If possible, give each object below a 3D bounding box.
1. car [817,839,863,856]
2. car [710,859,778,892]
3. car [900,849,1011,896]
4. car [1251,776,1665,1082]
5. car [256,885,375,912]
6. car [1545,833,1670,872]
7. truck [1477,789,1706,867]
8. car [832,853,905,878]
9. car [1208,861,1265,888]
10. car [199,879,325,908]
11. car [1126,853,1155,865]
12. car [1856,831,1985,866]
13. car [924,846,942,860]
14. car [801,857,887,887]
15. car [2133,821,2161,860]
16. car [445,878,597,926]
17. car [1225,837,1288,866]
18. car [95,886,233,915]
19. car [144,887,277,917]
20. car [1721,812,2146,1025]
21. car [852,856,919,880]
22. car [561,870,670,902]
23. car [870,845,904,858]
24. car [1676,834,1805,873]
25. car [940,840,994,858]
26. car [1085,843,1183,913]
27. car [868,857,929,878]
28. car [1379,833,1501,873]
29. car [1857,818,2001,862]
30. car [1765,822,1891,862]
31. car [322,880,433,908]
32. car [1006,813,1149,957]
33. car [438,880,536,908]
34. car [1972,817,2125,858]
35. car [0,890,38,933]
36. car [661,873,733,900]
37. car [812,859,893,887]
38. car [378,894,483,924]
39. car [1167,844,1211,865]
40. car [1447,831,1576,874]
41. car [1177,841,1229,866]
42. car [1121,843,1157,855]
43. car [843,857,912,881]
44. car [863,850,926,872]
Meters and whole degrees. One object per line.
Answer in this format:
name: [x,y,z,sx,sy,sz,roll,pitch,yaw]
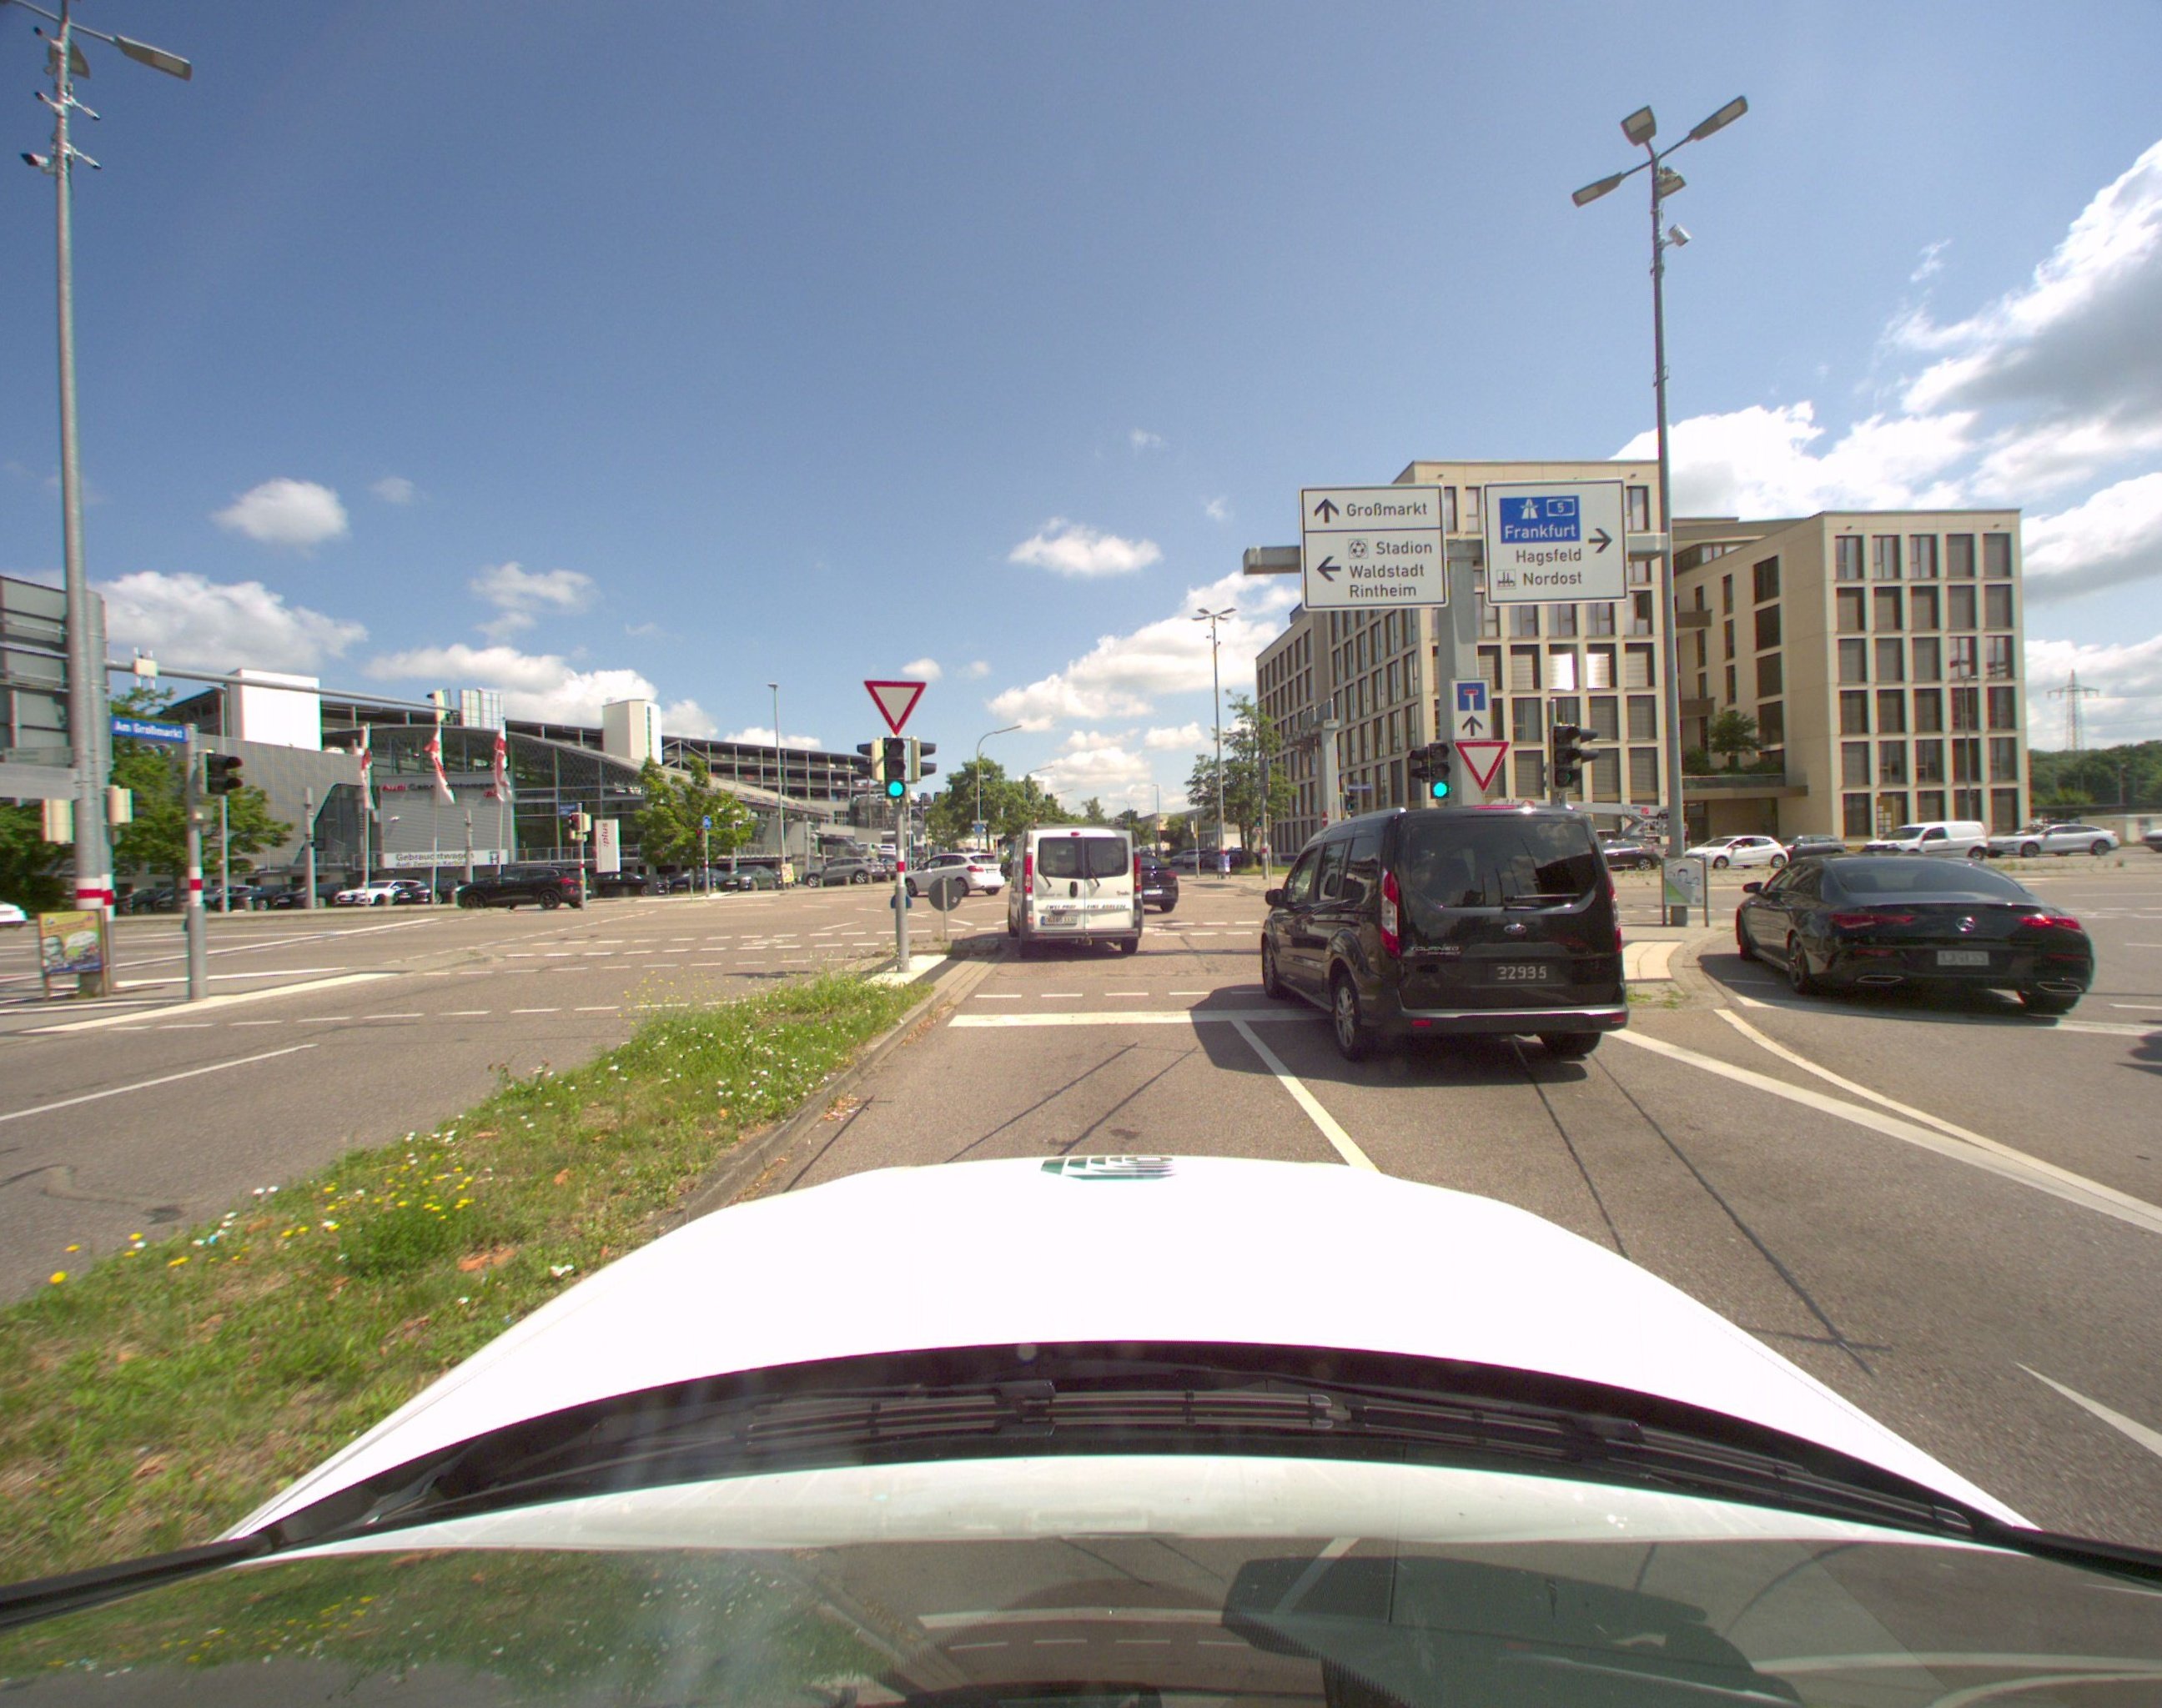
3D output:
car: [-25.724,-0.703,87.180,4.433,1.801,1.762,0,-1,-5]
car: [-17.799,1.123,43.235,1.897,1.678,4.584,0,-1,-3]
car: [-4.656,0.670,29.973,3.948,1.618,1.788,-1,-1,36]
car: [2.806,0.485,7.165,1.817,1.905,4.001,-1,0,1]
car: [-39.242,2.345,41.931,1.897,1.298,4.583,0,-4,-3]
car: [22.671,-0.051,35.170,4.184,1.627,1.828,-1,-1,0]
truck: [24.396,-1.199,39.088,9.738,3.555,2.669,0,-1,-6]
car: [-14.663,0.787,56.488,4.563,1.678,1.906,0,-1,-2]
car: [12.145,1.590,63.851,3.983,2.014,1.995,0,-1,-7]
car: [-41.748,2.039,41.714,1.897,1.384,4.583,0,-3,-3]
car: [8.731,0.750,120.599,3.983,1.750,1.995,0,-1,-7]
car: [40.587,-0.261,39.446,4.417,1.622,1.827,-1,-1,-1]
car: [-16.816,-0.089,92.470,1.558,1.552,3.597,0,-1,-4]
car: [-13.980,1.048,48.223,4.563,1.678,1.906,0,-1,-2]
car: [52.976,-0.652,37.981,4.668,1.838,1.834,-1,-1,12]
car: [-20.193,1.710,29.467,4.239,1.618,1.777,-1,-1,1]
car: [12.668,-0.150,58.939,3.983,2.014,1.995,0,-1,-7]
car: [-46.629,2.332,41.589,1.897,1.405,4.584,0,-2,-3]
car: [-44.262,2.465,41.585,1.897,1.405,4.583,0,-4,-3]
car: [8.422,0.494,8.621,1.841,1.655,4.244,0,0,28]
car: [-14.747,1.061,61.672,4.563,1.678,1.906,-1,-1,-2]
car: [-24.796,1.724,43.511,4.731,1.464,1.793,-2,-3,-4]
car: [-23.709,-0.295,99.698,3.988,1.552,1.758,0,-1,-11]
car: [28.647,0.004,35.460,4.187,1.627,1.826,0,-1,-2]
car: [-13.909,-0.636,99.404,6.374,2.102,1.762,0,-1,-4]
car: [1.305,0.592,21.606,1.773,1.629,3.988,-1,0,-9]
car: [-14.992,1.143,67.104,4.563,1.678,1.906,0,-1,-2]
car: [16.911,-0.028,38.505,4.970,1.838,1.996,0,-1,-6]
car: [37.102,-0.601,35.697,4.417,1.838,1.827,-1,-1,-1]
car: [36.056,-0.573,39.376,4.417,1.838,1.827,-1,-1,-1]
car: [-36.370,2.041,42.281,1.897,1.297,4.584,0,-1,-3]
car: [-0.252,0.464,14.141,1.971,2.060,4.553,-1,0,-7]
car: [-30.940,2.058,42.618,1.897,1.297,4.584,0,-1,-3]
car: [46.237,-0.773,39.015,4.684,1.838,1.832,-1,-1,7]
car: [-39.001,2.003,27.911,3.975,1.442,1.860,-1,-1,-1]
car: [-20.406,1.711,43.512,1.897,1.297,4.584,0,-1,-3]
car: [-14.229,1.189,50.893,4.563,1.678,1.906,0,-1,-2]
car: [-33.619,2.792,42.275,1.897,1.297,4.584,0,-1,-3]
car: [10.728,0.079,81.293,3.983,2.014,1.995,0,-1,-7]
car: [16.807,-0.055,31.893,4.193,1.627,1.824,0,-1,-6]
car: [10.366,-0.044,69.432,3.983,2.014,1.995,0,-1,-7]
car: [10.360,-0.873,145.671,6.322,2.014,2.572,-1,-1,-1]
car: [-14.702,1.073,59.033,4.563,1.678,1.906,-1,-1,-2]
car: [-14.702,0.543,64.391,4.563,1.678,1.906,0,-1,-2]
